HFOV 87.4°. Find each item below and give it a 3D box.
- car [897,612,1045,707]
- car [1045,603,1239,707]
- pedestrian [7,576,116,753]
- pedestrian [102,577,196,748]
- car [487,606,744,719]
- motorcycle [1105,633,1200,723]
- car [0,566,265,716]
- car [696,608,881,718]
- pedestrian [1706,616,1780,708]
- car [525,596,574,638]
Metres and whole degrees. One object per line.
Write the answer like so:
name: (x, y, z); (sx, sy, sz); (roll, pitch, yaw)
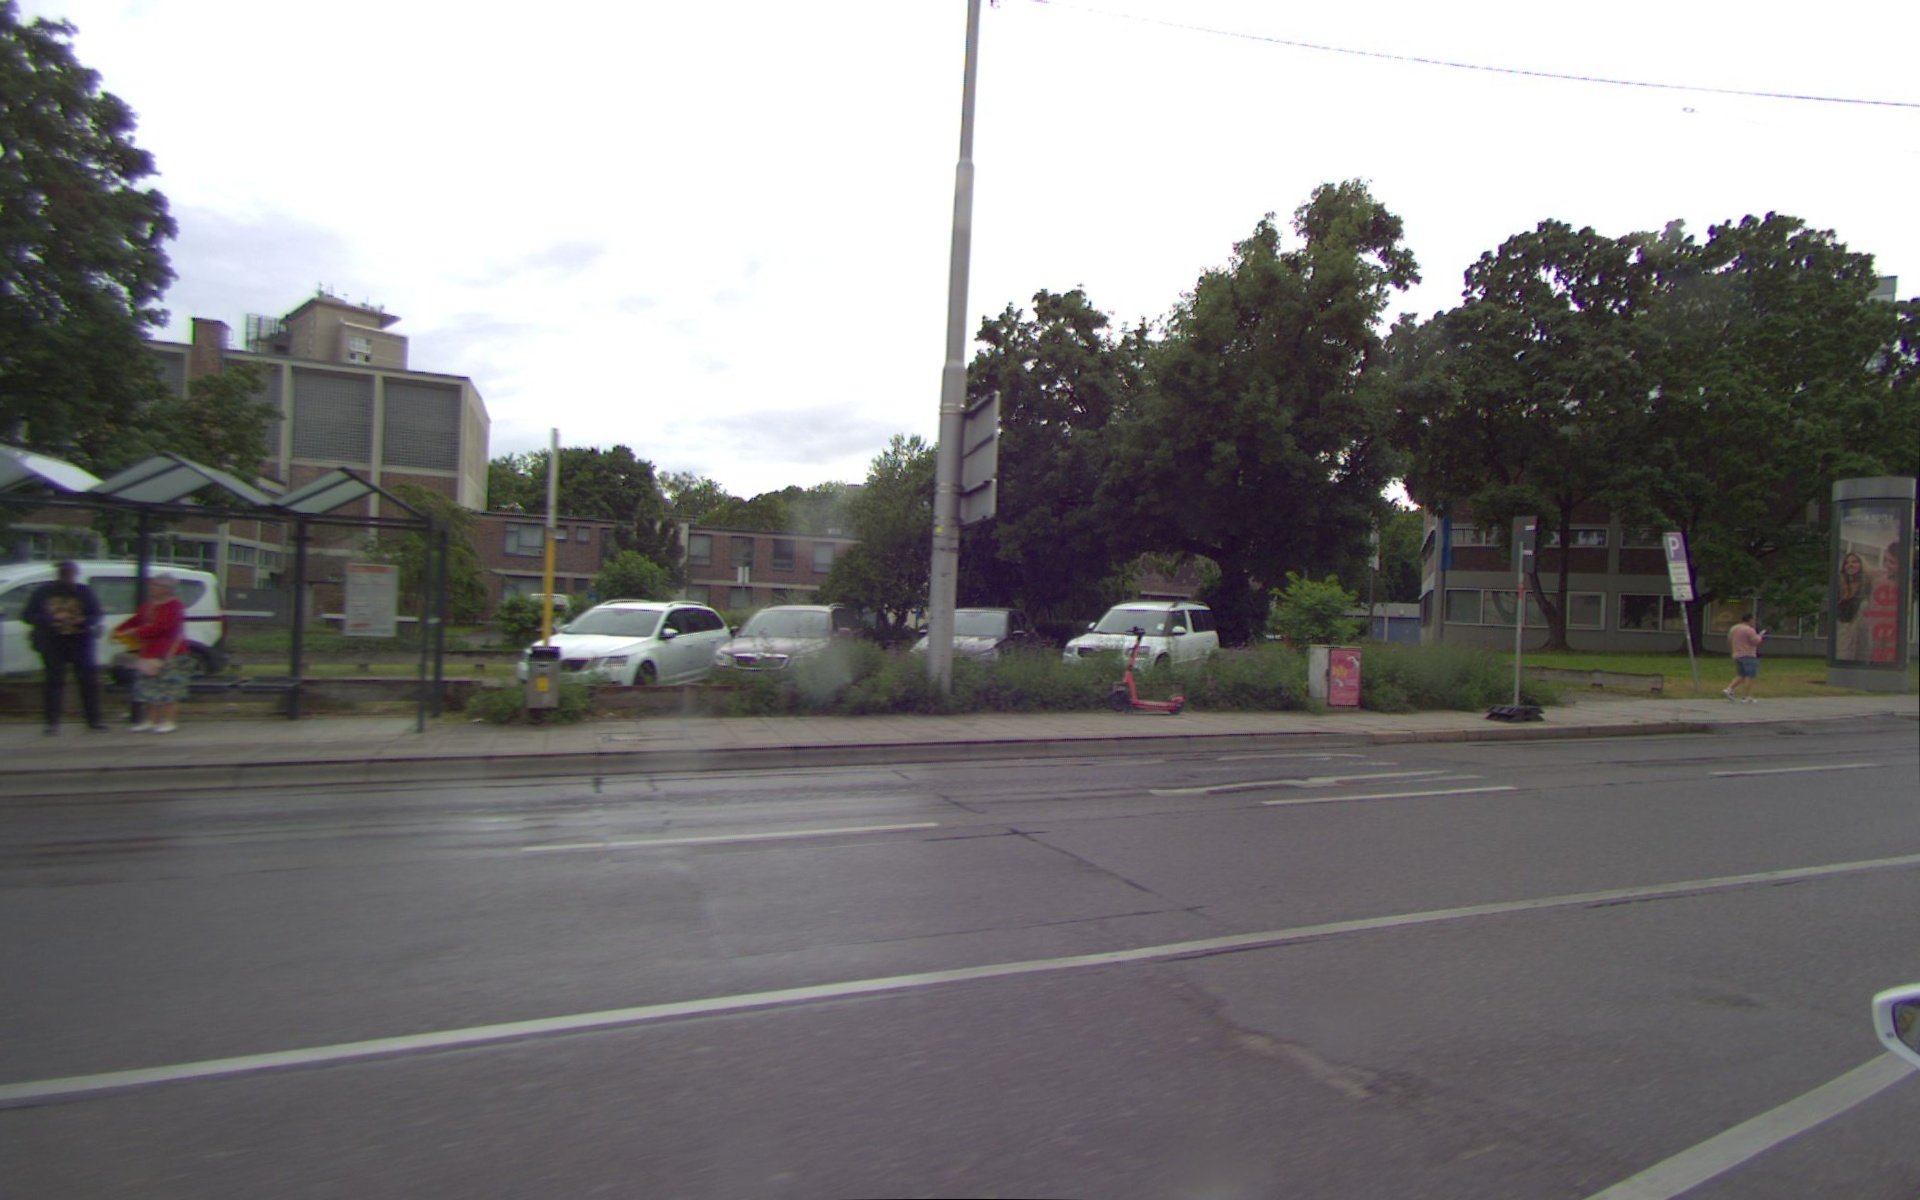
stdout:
car: (0.305, 0.952, 17.548); (1.806, 1.367, 3.599); (2, 1, 13)
car: (3.510, 0.912, 18.673); (1.837, 1.631, 4.512); (2, 1, 35)
pedestrian: (-9.101, 0.624, 10.201); (0.664, 1.718, 0.680); (1, 1, -29)
pedestrian: (-8.477, 0.632, 10.524); (0.635, 1.718, 0.624); (1, 1, -29)
car: (-4.989, 0.819, 15.292); (1.866, 1.367, 4.383); (2, 1, 8)
motorcycle: (2.827, 1.135, 14.755); (1.248, 1.264, 0.514); (2, 1, -21)
car: (-12.093, 0.465, 13.080); (1.976, 1.778, 4.723); (2, 1, 20)
car: (-2.518, 0.870, 15.973); (1.866, 1.367, 4.585); (2, 1, 3)
pedestrian: (15.029, 1.175, 19.290); (0.898, 1.709, 0.670); (2, 1, -14)
car: (-21.335, 0.854, 52.339); (1.968, 2.040, 3.985); (2, 0, -17)
